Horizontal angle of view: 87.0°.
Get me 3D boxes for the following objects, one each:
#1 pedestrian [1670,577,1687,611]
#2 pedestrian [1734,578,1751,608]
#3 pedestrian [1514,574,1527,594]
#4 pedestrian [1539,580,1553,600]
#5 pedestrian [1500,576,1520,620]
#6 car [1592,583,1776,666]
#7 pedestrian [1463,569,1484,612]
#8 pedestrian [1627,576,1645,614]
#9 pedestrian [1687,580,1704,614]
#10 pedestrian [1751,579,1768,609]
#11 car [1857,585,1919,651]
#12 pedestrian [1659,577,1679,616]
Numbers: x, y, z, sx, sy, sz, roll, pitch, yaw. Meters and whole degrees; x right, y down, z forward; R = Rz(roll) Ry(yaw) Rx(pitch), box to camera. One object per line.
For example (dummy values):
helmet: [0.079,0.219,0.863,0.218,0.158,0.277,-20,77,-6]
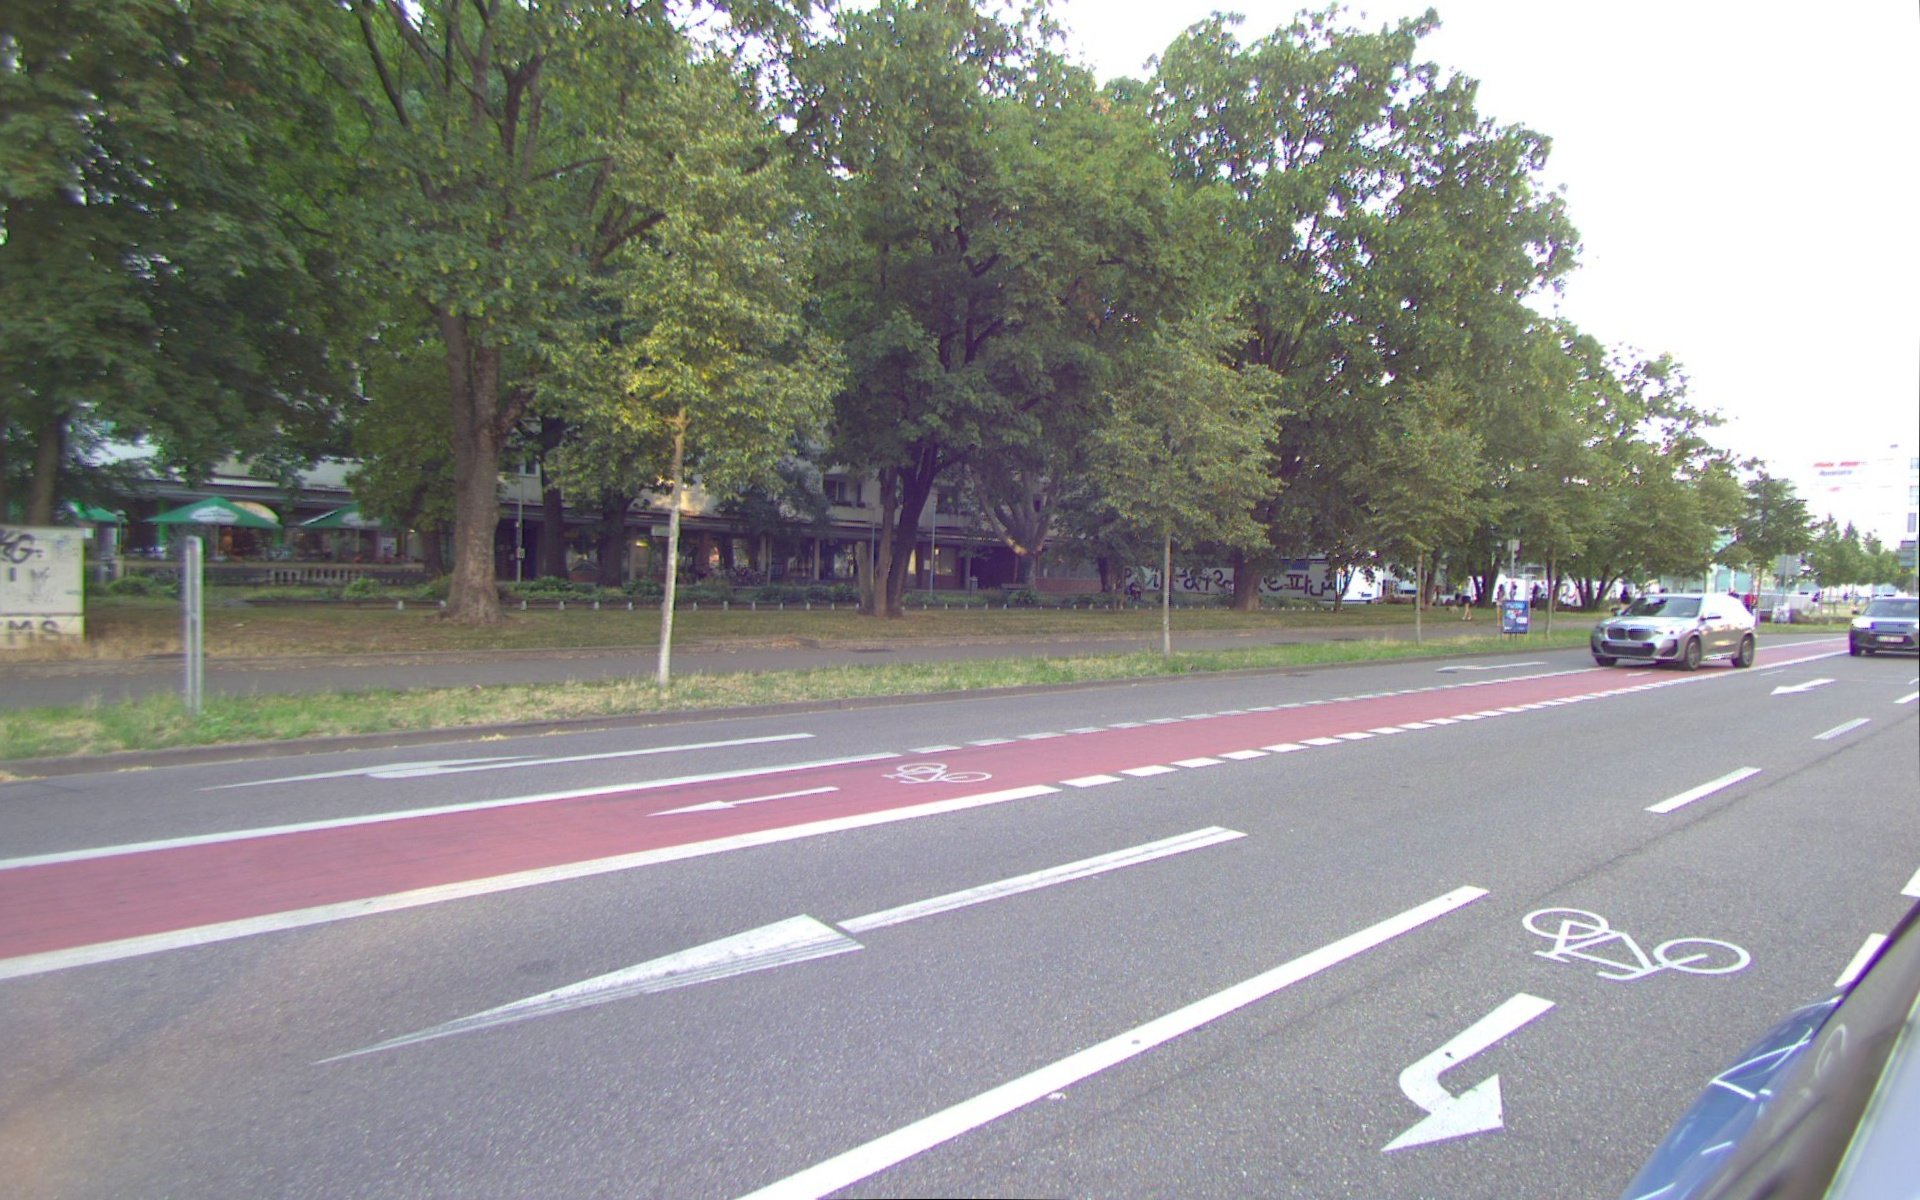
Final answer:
pedestrian: [37.492,-0.327,52.808,0.707,1.751,0.519,0,2,-40]
pedestrian: [47.076,-0.406,60.888,0.497,1.779,0.638,0,2,-40]
pedestrian: [39.644,-1.118,71.577,0.669,1.371,0.631,0,2,-41]
pedestrian: [41.090,-0.669,70.963,0.550,1.371,0.662,0,2,-40]
pedestrian: [20.628,-0.085,37.950,0.359,1.621,0.500,1,2,-40]
car: [15.781,0.491,22.015,4.252,1.642,1.828,0,0,-33]
pedestrian: [19.697,-0.352,38.832,0.513,1.621,0.500,0,2,-41]
pedestrian: [32.111,-0.238,48.060,0.707,1.751,0.508,0,2,-41]
pedestrian: [37.895,-0.154,52.133,0.707,1.751,0.508,0,2,-41]
pedestrian: [47.571,-0.359,60.216,0.497,1.779,0.638,0,2,-40]
car: [25.745,0.461,27.258,4.141,1.647,1.781,0,1,-41]
pedestrian: [32.425,-0.167,46.271,0.546,1.760,0.558,0,2,-41]
